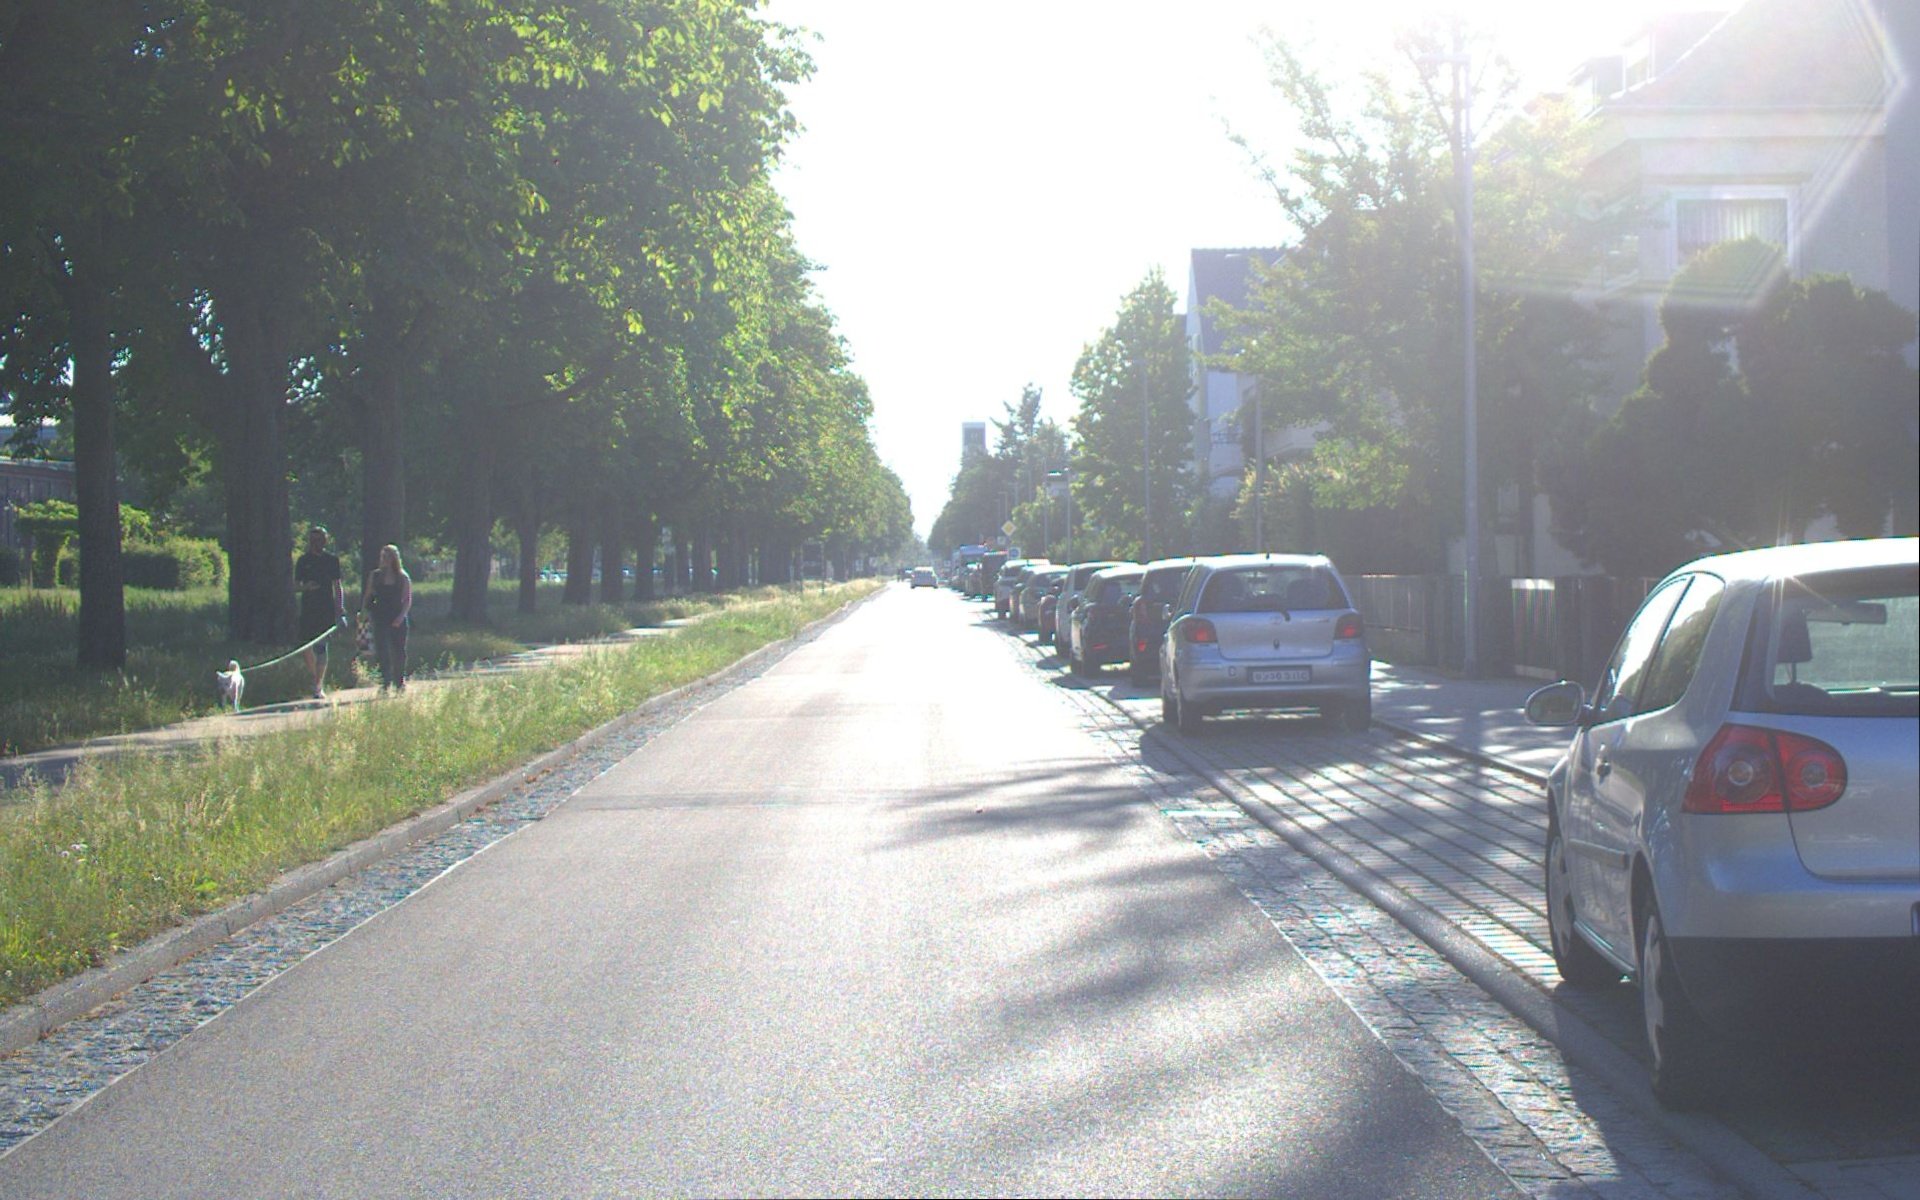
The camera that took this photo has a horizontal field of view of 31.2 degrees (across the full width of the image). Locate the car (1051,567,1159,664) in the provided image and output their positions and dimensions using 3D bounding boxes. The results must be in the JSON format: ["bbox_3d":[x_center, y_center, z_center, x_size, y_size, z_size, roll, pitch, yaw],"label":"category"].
[{"bbox_3d":[2.334,0.231,56.049,1.592,1.505,3.591,-1,0,0],"label":"car"}]

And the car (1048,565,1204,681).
[{"bbox_3d":[2.206,0.305,46.628,1.736,1.444,4.197,-2,0,-2],"label":"car"}]

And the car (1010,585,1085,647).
[{"bbox_3d":[1.995,0.357,79.392,1.652,1.392,3.266,-1,0,1],"label":"car"}]

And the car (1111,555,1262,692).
[{"bbox_3d":[2.669,0.266,40.809,1.658,1.489,3.715,-2,0,3],"label":"car"}]

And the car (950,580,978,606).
[{"bbox_3d":[0.250,-0.402,204.409,1.652,1.536,3.266,1,0,1],"label":"car"}]

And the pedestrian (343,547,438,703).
[{"bbox_3d":[-5.968,0.256,36.052,0.783,1.609,0.952,0,0,3],"label":"pedestrian"}]

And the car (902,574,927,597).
[{"bbox_3d":[-3.112,-0.982,235.834,1.652,1.536,3.266,1,0,0],"label":"car"}]

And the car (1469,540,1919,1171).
[{"bbox_3d":[2.668,0.584,10.297,1.744,1.469,3.922,-3,1,2],"label":"car"}]

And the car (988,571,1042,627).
[{"bbox_3d":[1.561,-0.032,98.320,1.498,1.561,3.266,-1,0,1],"label":"car"}]

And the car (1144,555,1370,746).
[{"bbox_3d":[2.546,0.396,30.197,1.627,1.499,3.633,-2,1,0],"label":"car"}]

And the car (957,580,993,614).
[{"bbox_3d":[0.714,-0.139,160.124,1.652,1.536,3.266,1,0,1],"label":"car"}]

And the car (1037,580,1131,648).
[{"bbox_3d":[2.371,0.250,66.263,1.693,1.244,3.497,-1,0,1],"label":"car"}]

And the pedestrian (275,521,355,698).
[{"bbox_3d":[-6.734,0.091,35.928,0.624,1.825,0.886,0,0,3],"label":"pedestrian"}]
